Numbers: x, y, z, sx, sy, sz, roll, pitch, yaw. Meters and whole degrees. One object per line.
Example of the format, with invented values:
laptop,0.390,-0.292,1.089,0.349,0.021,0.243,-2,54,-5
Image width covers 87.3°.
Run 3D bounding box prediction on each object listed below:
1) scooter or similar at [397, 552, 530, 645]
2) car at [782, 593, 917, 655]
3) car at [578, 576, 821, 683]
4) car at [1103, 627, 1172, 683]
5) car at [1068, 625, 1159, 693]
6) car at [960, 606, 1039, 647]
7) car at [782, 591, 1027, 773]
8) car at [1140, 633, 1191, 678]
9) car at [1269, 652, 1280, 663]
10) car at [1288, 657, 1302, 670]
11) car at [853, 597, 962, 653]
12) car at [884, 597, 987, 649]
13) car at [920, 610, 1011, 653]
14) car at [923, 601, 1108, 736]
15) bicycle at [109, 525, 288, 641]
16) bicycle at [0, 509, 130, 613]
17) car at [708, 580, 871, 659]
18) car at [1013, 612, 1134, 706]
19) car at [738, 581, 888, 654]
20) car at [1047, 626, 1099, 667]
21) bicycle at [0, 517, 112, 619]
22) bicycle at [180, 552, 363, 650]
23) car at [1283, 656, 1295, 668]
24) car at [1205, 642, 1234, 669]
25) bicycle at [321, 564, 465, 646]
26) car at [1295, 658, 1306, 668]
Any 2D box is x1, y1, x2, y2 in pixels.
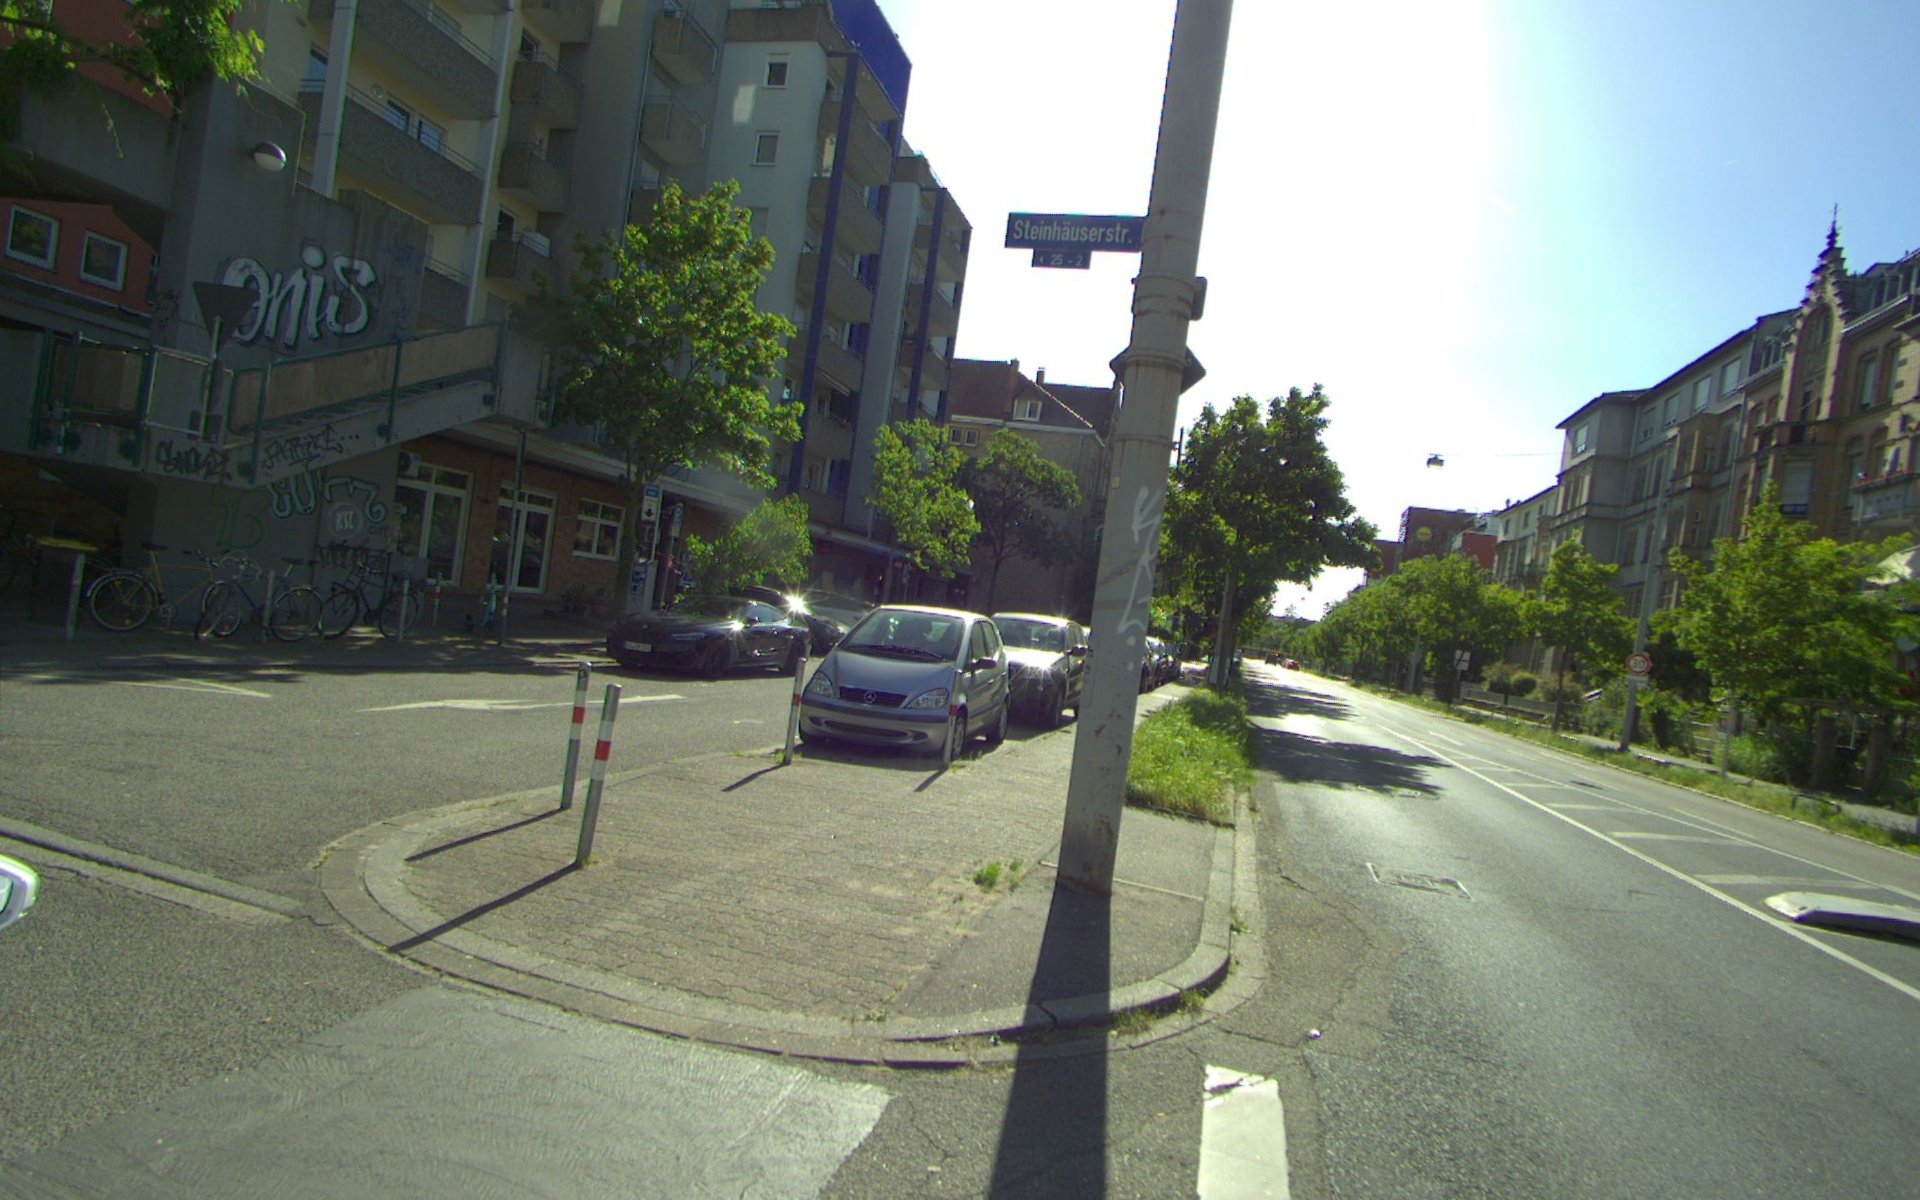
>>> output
scooter or similar,-8.452,-0.023,17.135,1.935,1.293,0.631,8,1,11
car,-3.612,0.783,32.998,3.924,1.442,1.688,8,0,13
car,-4.365,0.561,17.701,1.861,1.415,4.531,7,-1,18
car,6.044,1.833,33.928,1.724,1.572,4.002,7,-1,16
car,4.509,1.684,29.123,1.834,1.606,4.001,7,-1,18
car,2.187,1.451,54.985,3.924,1.649,1.688,8,0,13
car,-0.444,0.848,11.456,1.692,1.537,3.534,7,-1,13
car,9.106,2.437,44.312,1.735,1.666,4.002,8,0,16
car,61.076,11.133,195.166,1.730,1.805,4.002,8,0,17
car,55.266,10.490,165.900,1.921,1.729,4.002,8,0,17
car,-2.086,1.007,40.531,3.924,1.649,1.688,8,0,13
car,-1.021,0.976,43.067,3.924,1.649,1.688,8,0,13
car,0.282,1.489,47.745,3.924,1.487,1.609,8,0,13
car,1.073,1.056,16.334,1.839,1.647,4.506,7,-1,17
bicycle,-9.482,-0.182,12.580,0.453,1.252,1.628,8,0,38
bicycle,-11.342,-0.496,12.513,1.768,1.013,0.415,10,2,9
car,-4.705,0.543,27.917,3.924,1.570,1.771,8,0,13
car,2.662,1.292,22.542,1.858,1.682,4.533,6,-1,16
car,-4.434,0.532,30.559,3.924,1.627,1.843,8,0,13
car,5.546,2.274,48.975,1.735,1.666,4.002,8,0,16
bicycle,-11.113,-0.415,11.903,1.590,1.013,0.414,10,2,-7
bicycle,-8.674,0.046,12.759,0.408,1.043,1.799,12,2,32
car,58.040,10.921,177.309,1.730,1.805,4.002,8,0,17
car,22.733,4.871,87.960,1.962,2.038,4.207,8,0,18
bicycle,-8.170,0.104,14.583,0.408,1.013,1.801,11,1,25
car,68.521,12.634,202.683,1.730,1.805,4.002,8,0,17
